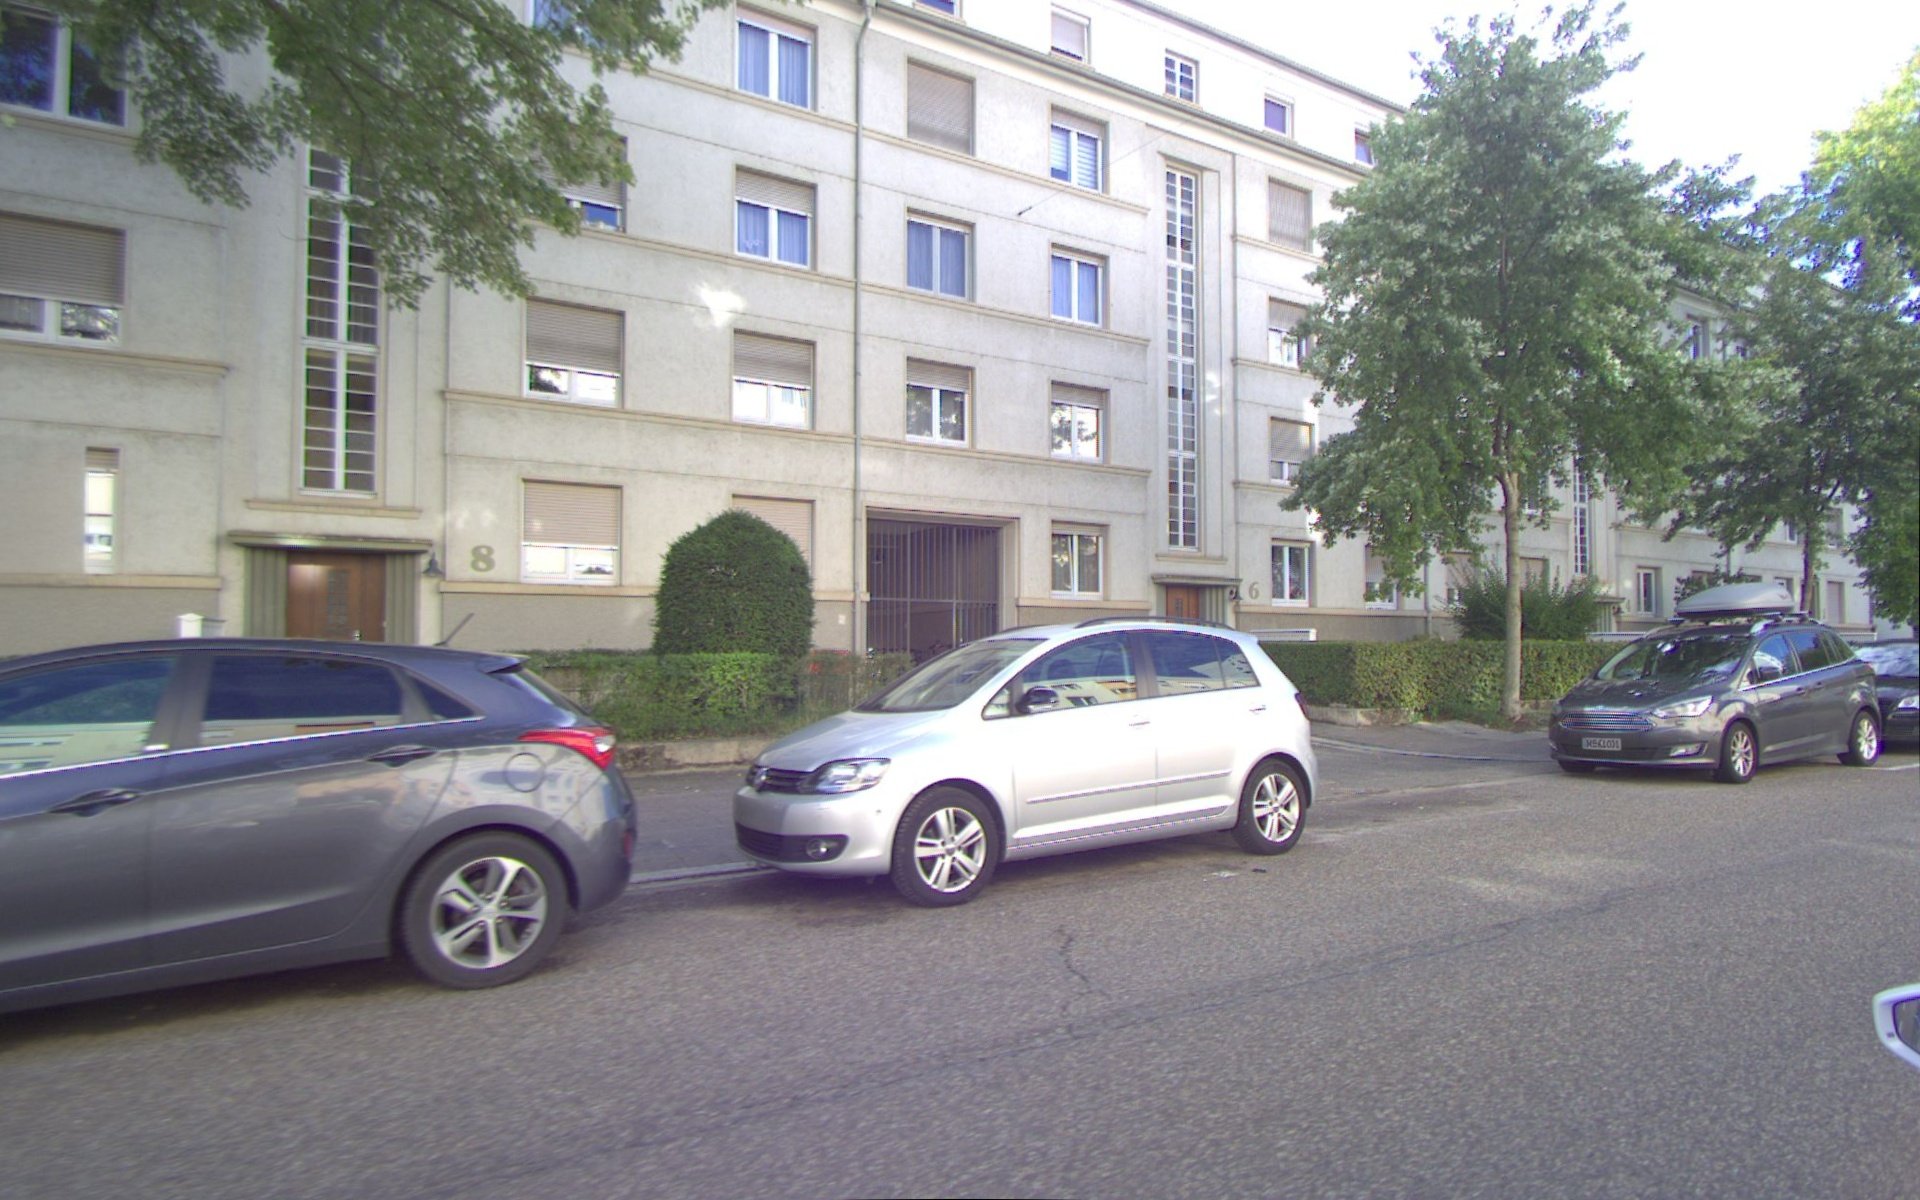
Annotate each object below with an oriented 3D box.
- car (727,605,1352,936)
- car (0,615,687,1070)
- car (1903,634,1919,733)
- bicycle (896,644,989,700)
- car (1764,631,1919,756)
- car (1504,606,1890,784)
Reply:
[{"bbox_3d":[0.612,0.948,6.802,3.949,1.641,1.731,1,-5,-31],"label":"car"},{"bbox_3d":[-3.329,0.864,4.164,3.969,1.487,1.606,1,-5,-32],"label":"car"},{"bbox_3d":[16.649,1.288,15.934,2.979,1.540,1.547,1,-5,-28],"label":"car"},{"bbox_3d":[-0.444,1.596,22.892,0.980,1.138,2.571,1,-1,-31],"label":"bicycle"},{"bbox_3d":[12.895,1.214,13.653,3.800,1.506,1.694,1,-5,-29],"label":"car"},{"bbox_3d":[8.444,1.009,11.447,4.427,1.689,1.792,1,-5,-29],"label":"car"}]
